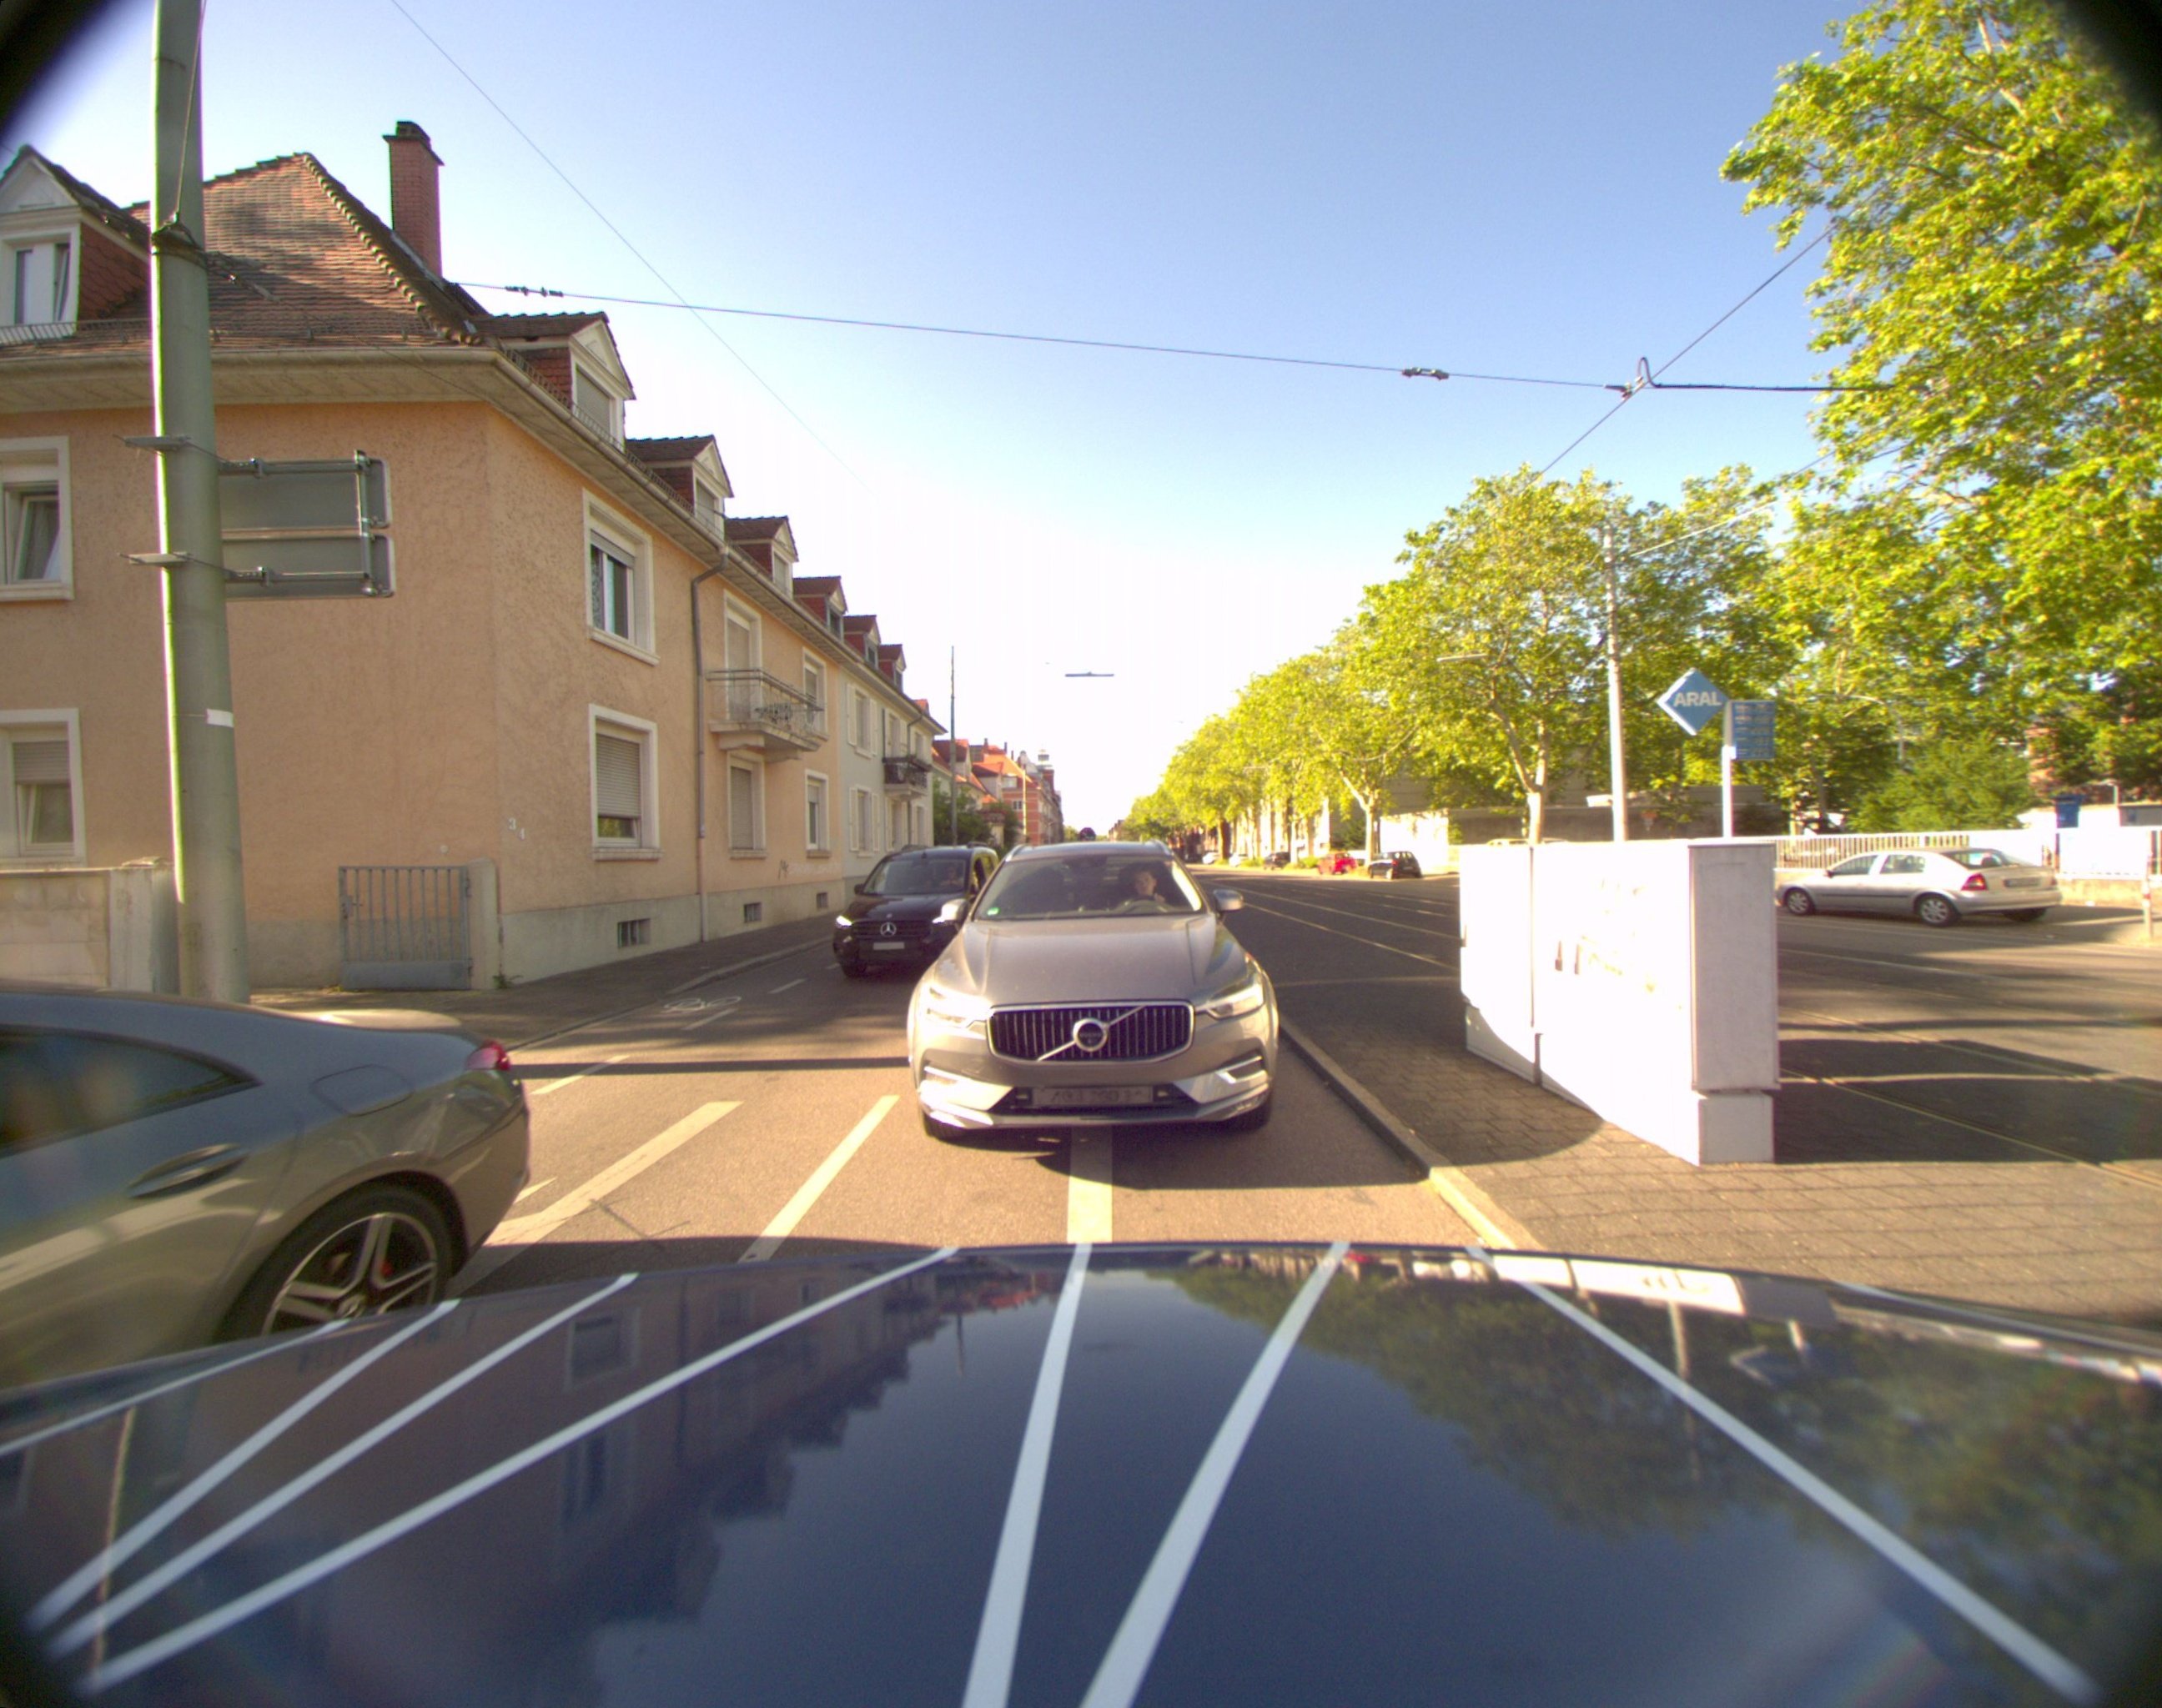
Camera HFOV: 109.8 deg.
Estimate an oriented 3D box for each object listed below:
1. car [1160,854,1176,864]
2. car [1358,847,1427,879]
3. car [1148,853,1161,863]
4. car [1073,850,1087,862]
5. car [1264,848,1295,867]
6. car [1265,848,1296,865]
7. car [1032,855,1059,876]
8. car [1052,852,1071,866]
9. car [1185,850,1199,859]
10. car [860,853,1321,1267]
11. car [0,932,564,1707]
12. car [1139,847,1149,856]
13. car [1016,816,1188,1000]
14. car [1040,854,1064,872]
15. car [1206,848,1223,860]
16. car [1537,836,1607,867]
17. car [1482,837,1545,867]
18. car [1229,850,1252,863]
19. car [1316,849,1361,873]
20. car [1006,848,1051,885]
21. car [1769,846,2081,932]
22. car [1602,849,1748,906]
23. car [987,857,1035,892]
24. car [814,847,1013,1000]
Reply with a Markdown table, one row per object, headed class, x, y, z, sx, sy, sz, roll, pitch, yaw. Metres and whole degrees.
| class | x | y | z | sx | sy | sz | roll | pitch | yaw |
| --- | --- | --- | --- | --- | --- | --- | --- | --- | --- |
| car | 13.203 | 0.751 | 115.210 | 1.912 | 1.514 | 4.763 | 0 | 1 | 0 |
| car | 16.808 | 0.442 | 41.195 | 1.753 | 1.514 | 4.434 | -5 | 1 | -1 |
| car | 13.474 | 0.759 | 139.194 | 1.700 | 1.412 | 3.999 | 10 | 1 | 1 |
| car | -0.142 | 0.267 | 106.493 | 1.841 | 1.449 | 3.999 | -2 | 1 | 1 |
| car | 17.182 | 0.315 | 65.998 | 1.699 | 1.566 | 3.999 | -1 | 1 | 1 |
| car | 17.299 | 0.222 | 65.917 | 1.699 | 1.401 | 3.999 | -1 | 1 | 1 |
| car | -2.813 | 0.883 | 60.594 | 1.841 | 1.449 | 3.999 | -2 | 1 | 1 |
| car | -2.167 | 0.580 | 85.441 | 1.841 | 1.449 | 3.999 | -2 | 1 | 1 |
| car | 18.351 | 0.017 | 125.564 | 1.699 | 1.401 | 3.999 | -1 | 1 | 1 |
| car | 0.049 | 0.882 | 5.633 | 1.912 | 1.666 | 4.763 | -2 | 1 | 0 |
| car | -3.060 | 1.070 | 0.712 | 1.911 | 1.411 | 4.492 | -2 | 1 | 2 |
| car | 14.167 | -0.587 | 170.584 | 1.850 | 1.835 | 4.394 | -1 | 1 | -1 |
| car | 0.248 | 0.595 | 11.127 | 1.912 | 2.048 | 4.763 | -2 | 1 | 0 |
| car | -2.517 | 0.800 | 67.003 | 1.841 | 1.449 | 3.999 | -2 | 1 | 1 |
| car | 17.680 | 0.003 | 100.787 | 1.699 | 1.548 | 3.999 | -1 | 1 | 1 |
| car | 24.289 | -0.154 | 37.703 | 1.545 | 1.412 | 3.151 | -2 | 1 | 4 |
| car | 21.728 | -0.116 | 38.277 | 1.545 | 1.412 | 3.151 | -2 | 1 | 4 |
| car | 17.532 | 0.245 | 83.525 | 1.699 | 1.401 | 3.999 | -1 | 1 | 1 |
| car | 17.019 | 0.463 | 50.343 | 1.699 | 1.460 | 3.999 | -1 | 1 | 1 |
| car | -2.913 | 0.630 | 43.873 | 1.937 | 1.888 | 7.210 | -2 | 1 | 1 |
| car | 16.257 | 0.578 | 15.004 | 1.731 | 1.412 | 3.999 | -2 | 1 | 1 |
| car | 16.455 | 0.601 | 21.249 | 1.546 | 1.412 | 3.254 | -2 | 1 | 1 |
| car | -3.320 | 0.959 | 36.762 | 1.841 | 1.449 | 3.999 | -2 | 1 | 1 |
| car | -2.256 | 0.824 | 11.652 | 1.866 | 1.794 | 4.778 | -2 | 1 | 1 |
